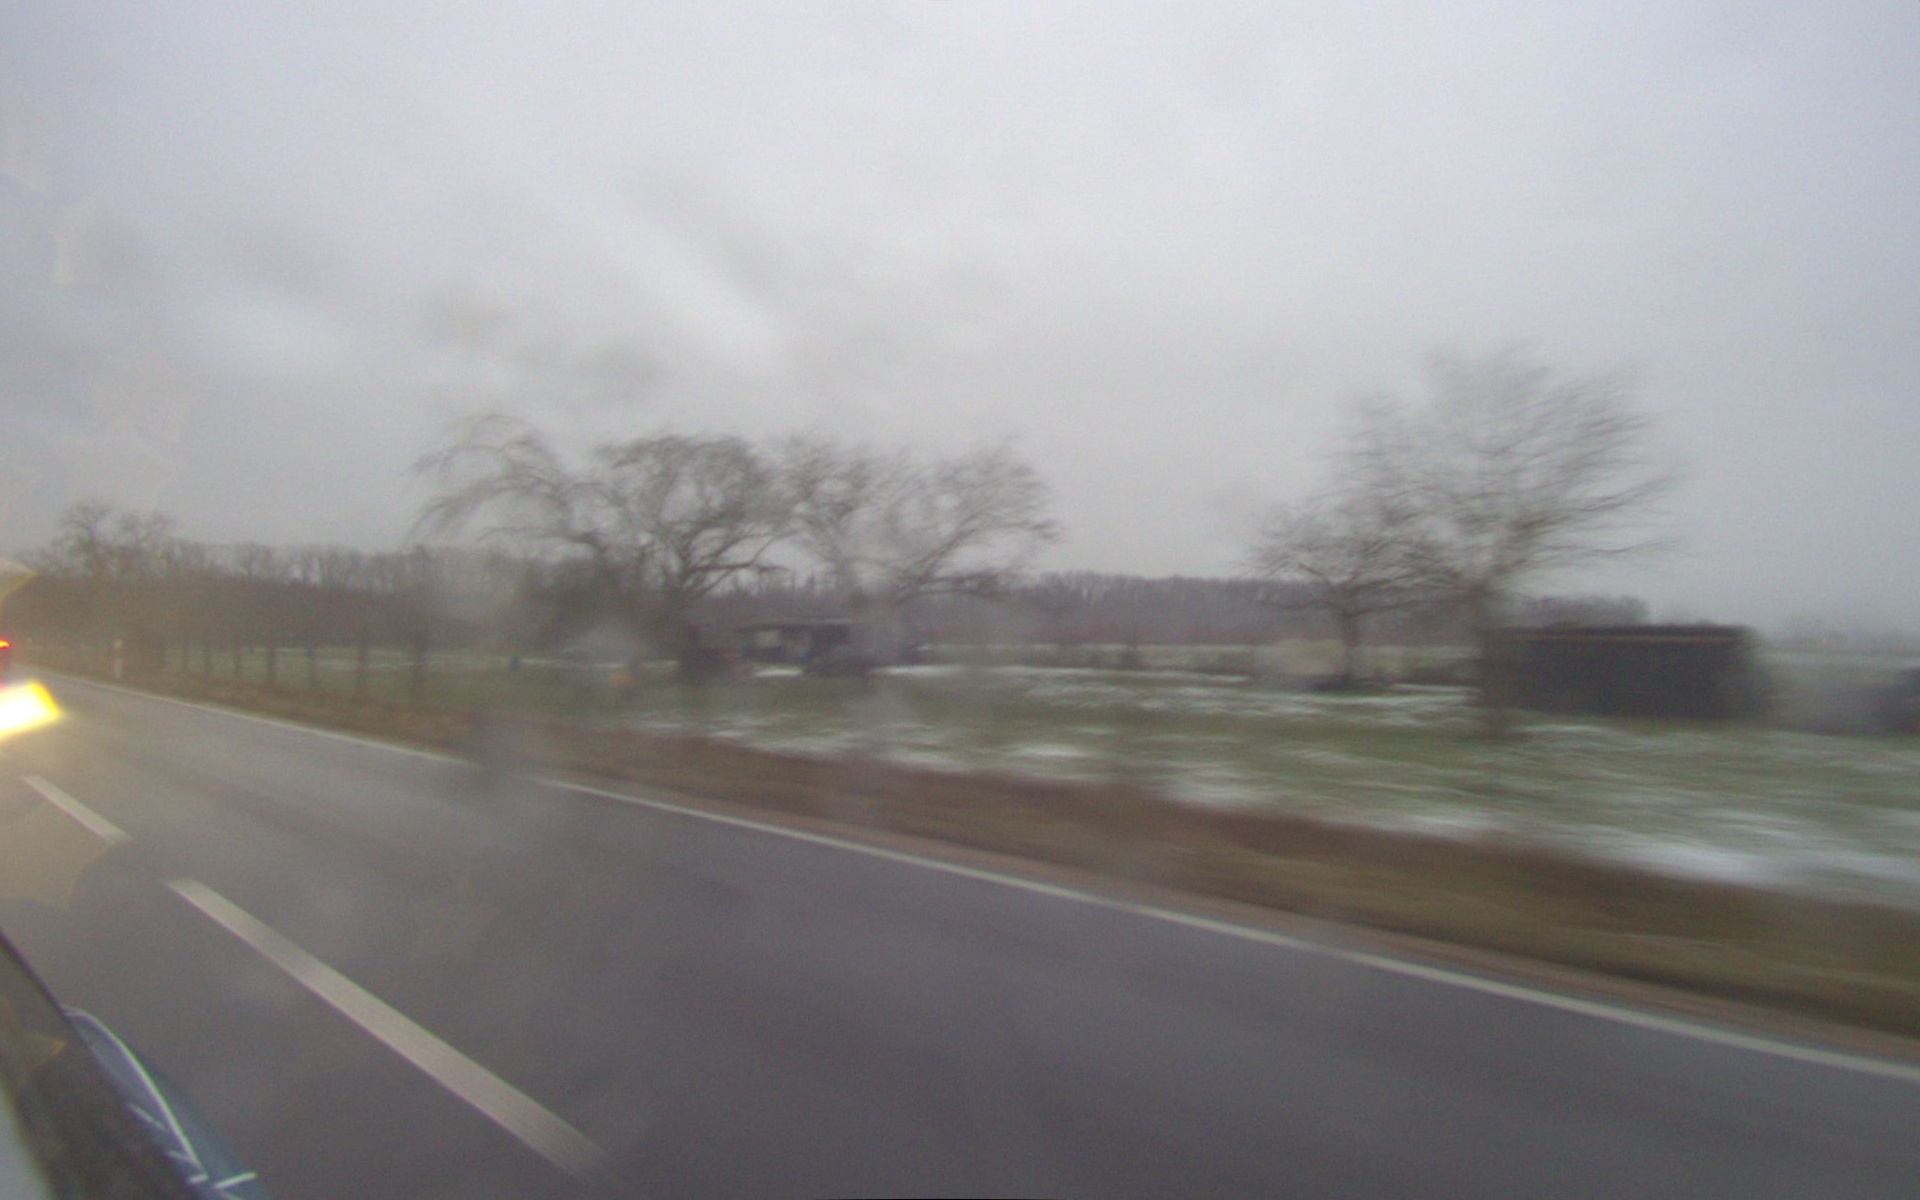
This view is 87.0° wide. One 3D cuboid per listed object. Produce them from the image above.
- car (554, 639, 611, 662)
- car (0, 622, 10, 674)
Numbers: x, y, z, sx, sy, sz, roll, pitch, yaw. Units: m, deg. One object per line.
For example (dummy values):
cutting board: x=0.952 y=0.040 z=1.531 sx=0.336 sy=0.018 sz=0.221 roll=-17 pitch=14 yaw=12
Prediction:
car: x=-25.141 y=3.325 z=67.450 sx=1.591 sy=1.352 sz=3.421 roll=-1 pitch=0 yaw=27
car: x=-29.350 y=1.376 z=29.772 sx=3.772 sy=1.490 sz=1.670 roll=-1 pitch=-3 yaw=42
